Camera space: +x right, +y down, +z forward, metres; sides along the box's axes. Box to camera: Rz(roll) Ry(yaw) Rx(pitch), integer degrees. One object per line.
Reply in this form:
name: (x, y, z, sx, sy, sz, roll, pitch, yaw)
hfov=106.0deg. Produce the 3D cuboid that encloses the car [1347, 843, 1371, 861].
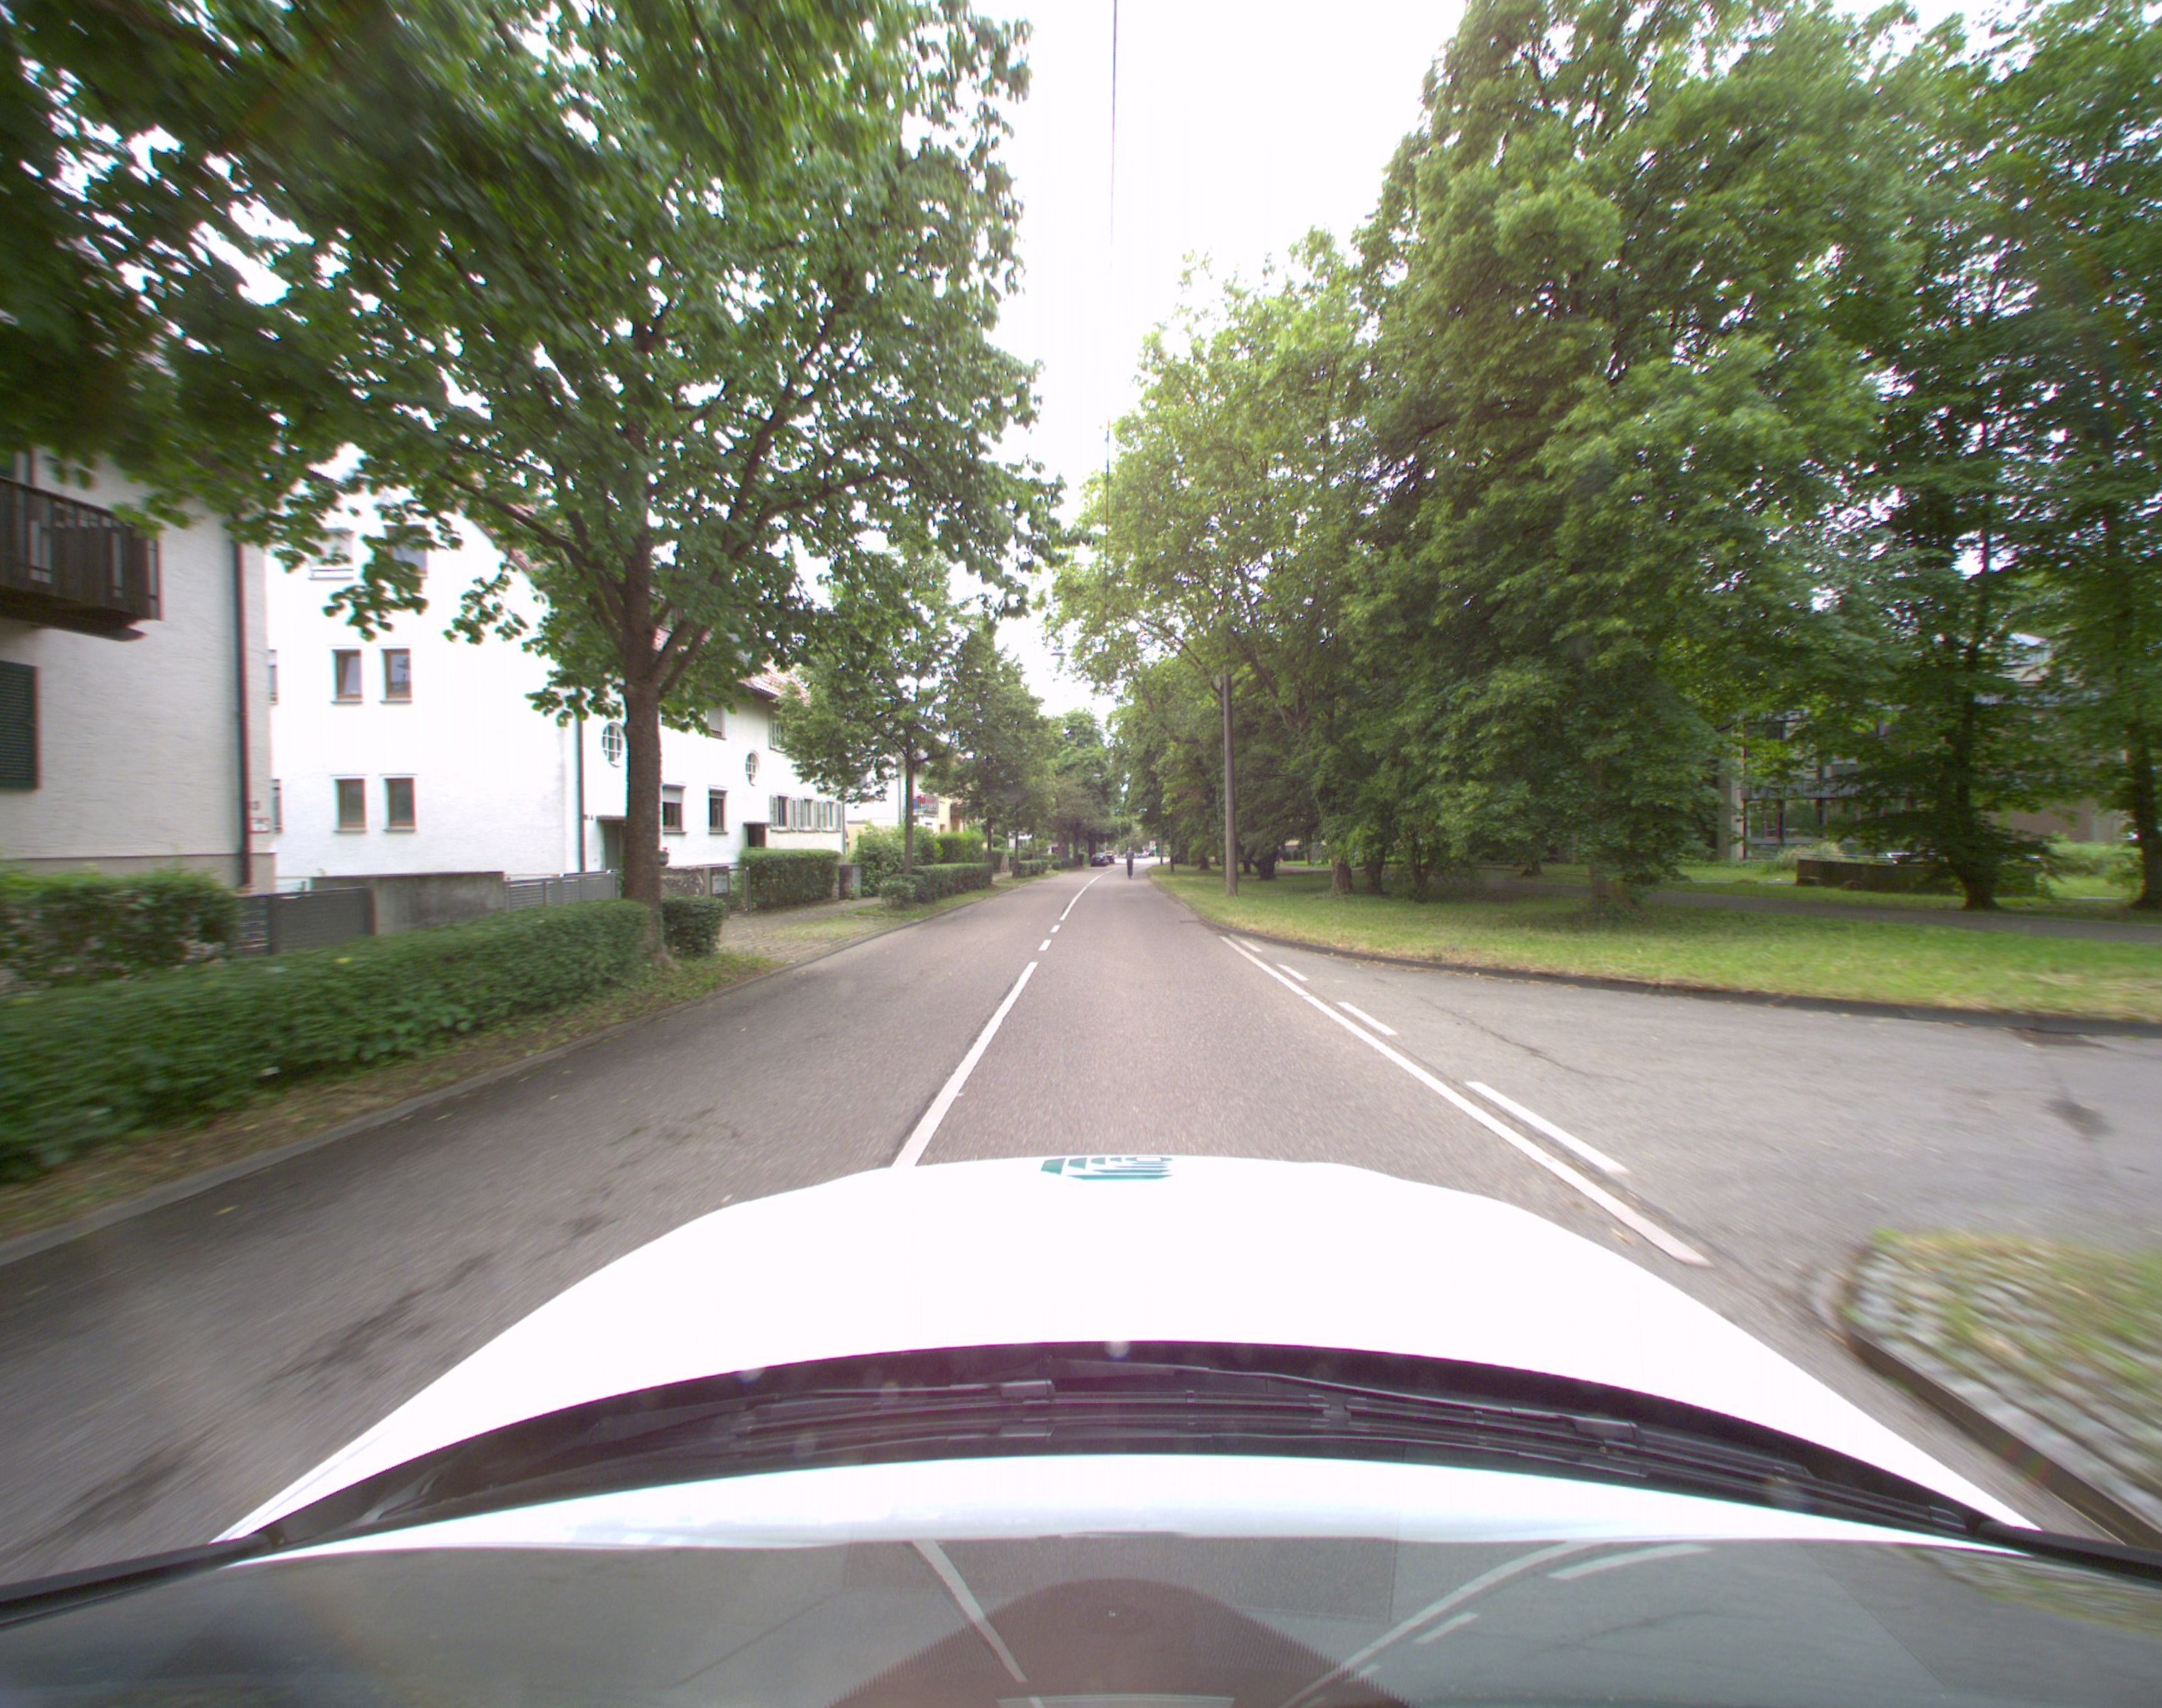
car: (31.626, -0.224, 92.851, 2.071, 1.842, 4.986, -2, 1, 13)

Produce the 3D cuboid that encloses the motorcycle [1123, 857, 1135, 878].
motorcycle: (2.901, 0.812, 49.147, 0.669, 1.217, 1.276, 0, 0, 6)

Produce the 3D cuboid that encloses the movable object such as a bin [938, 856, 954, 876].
movable object such as a bin: (-6.484, 0.589, 39.183, 0.577, 0.926, 0.694, -2, 0, 5)

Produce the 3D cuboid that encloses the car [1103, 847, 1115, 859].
car: (4.734, -0.115, 139.959, 1.852, 1.964, 4.503, -2, -1, 0)

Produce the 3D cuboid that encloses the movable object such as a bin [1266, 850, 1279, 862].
movable object such as a bin: (24.666, 0.282, 104.803, 1.321, 1.501, 1.315, -2, 0, 2)

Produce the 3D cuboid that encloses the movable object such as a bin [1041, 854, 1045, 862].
movable object such as a bin: (-4.198, 0.443, 89.528, 0.454, 0.915, 0.508, -2, -1, -2)

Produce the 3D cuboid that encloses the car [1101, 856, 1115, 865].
car: (4.321, 1.032, 129.076, 1.883, 1.410, 4.560, -2, -1, 5)

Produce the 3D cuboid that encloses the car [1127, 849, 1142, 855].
car: (14.514, -0.423, 222.307, 3.972, 1.510, 1.801, -2, 0, 2)

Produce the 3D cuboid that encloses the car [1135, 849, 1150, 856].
car: (15.795, -0.346, 209.545, 3.972, 1.510, 1.801, -2, 0, 2)

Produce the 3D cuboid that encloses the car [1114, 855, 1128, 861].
car: (11.706, 1.105, 237.336, 3.972, 1.510, 1.801, -2, 0, 2)

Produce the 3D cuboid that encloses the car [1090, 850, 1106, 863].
car: (2.108, 0.341, 97.831, 1.787, 1.472, 4.421, -2, 0, 2)

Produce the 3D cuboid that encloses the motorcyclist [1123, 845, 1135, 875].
motorcyclist: (2.933, 0.367, 49.410, 0.669, 1.761, 0.640, 0, 0, 6)

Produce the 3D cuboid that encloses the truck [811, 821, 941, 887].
truck: (-10.180, 0.005, 40.773, 5.775, 3.131, 2.519, 0, 0, 1)
